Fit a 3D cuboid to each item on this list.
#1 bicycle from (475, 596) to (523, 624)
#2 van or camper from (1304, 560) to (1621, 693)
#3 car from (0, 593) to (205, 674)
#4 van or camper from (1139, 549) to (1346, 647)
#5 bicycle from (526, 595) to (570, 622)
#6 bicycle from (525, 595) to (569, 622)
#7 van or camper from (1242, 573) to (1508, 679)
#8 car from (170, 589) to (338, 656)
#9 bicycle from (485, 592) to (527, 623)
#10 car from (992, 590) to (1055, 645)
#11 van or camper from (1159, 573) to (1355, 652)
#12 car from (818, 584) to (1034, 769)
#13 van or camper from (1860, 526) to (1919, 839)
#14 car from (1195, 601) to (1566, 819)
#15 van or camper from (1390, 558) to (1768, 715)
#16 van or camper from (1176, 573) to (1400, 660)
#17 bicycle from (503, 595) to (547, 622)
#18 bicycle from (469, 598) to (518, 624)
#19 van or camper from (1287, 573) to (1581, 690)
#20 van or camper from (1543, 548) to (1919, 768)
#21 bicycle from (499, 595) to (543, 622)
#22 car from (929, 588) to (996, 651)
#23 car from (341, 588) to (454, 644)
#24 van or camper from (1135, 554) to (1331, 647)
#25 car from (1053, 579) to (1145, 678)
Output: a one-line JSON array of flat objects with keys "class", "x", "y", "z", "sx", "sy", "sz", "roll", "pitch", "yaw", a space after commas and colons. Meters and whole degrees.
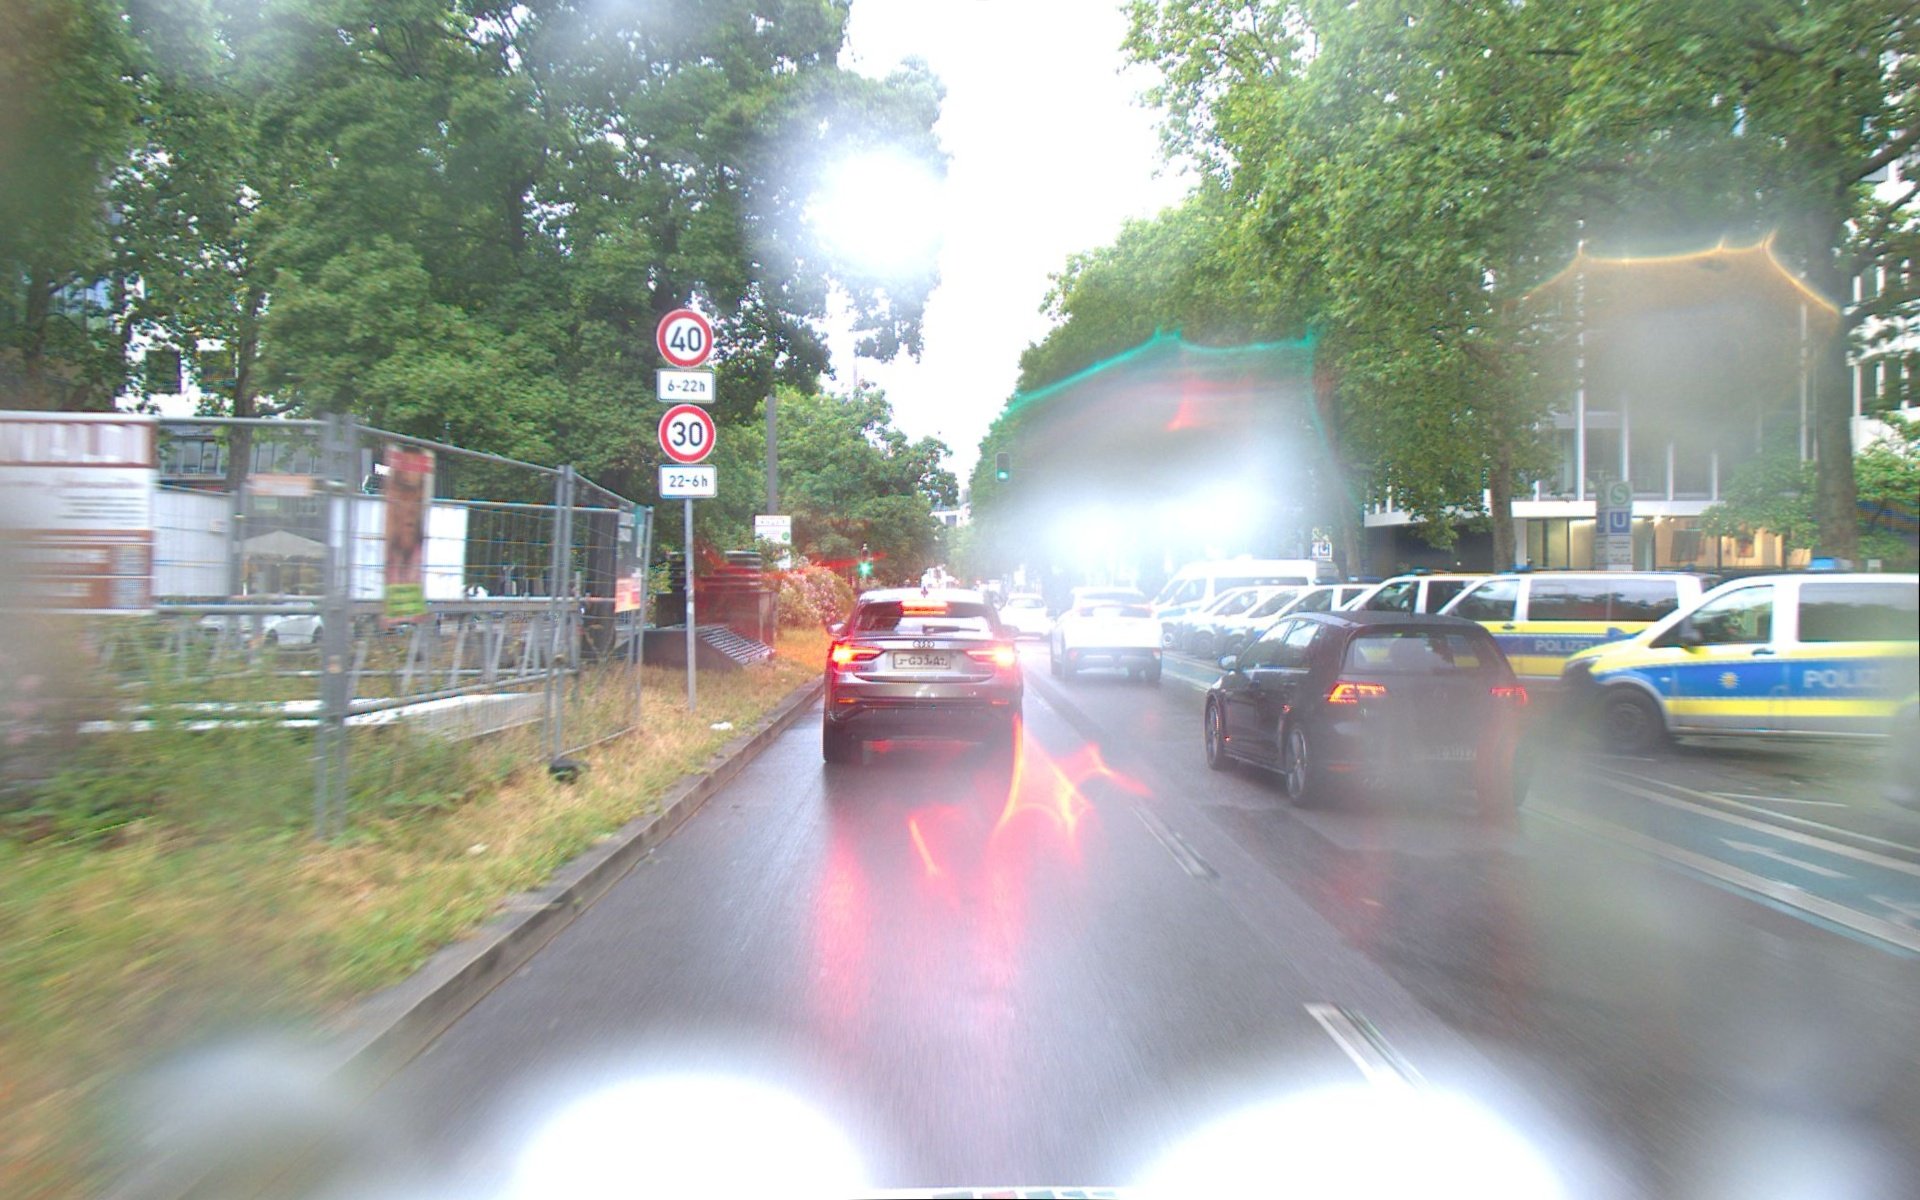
[{"class": "bicycle", "x": -18.712, "y": 0.403, "z": 67.217, "sx": 1.810, "sy": 1.117, "sz": 0.613, "roll": 0, "pitch": 0, "yaw": -9}, {"class": "van or camper", "x": 8.330, "y": 0.394, "z": 27.580, "sx": 4.698, "sy": 2.046, "sz": 1.993, "roll": 0, "pitch": 0, "yaw": 36}, {"class": "car", "x": -16.256, "y": 0.575, "z": 31.418, "sx": 1.788, "sy": 1.419, "sz": 4.483, "roll": 0, "pitch": 0, "yaw": -1}, {"class": "van or camper", "x": 8.212, "y": -0.062, "z": 48.351, "sx": 5.693, "sy": 2.727, "sz": 1.993, "roll": 0, "pitch": 0, "yaw": 35}, {"class": "bicycle", "x": -18.257, "y": 0.381, "z": 73.299, "sx": 1.809, "sy": 1.169, "sz": 0.565, "roll": -1, "pitch": 1, "yaw": -8}, {"class": "bicycle", "x": -18.148, "y": 0.383, "z": 72.657, "sx": 1.809, "sy": 1.156, "sz": 0.565, "roll": -1, "pitch": 1, "yaw": -8}, {"class": "van or camper", "x": 8.615, "y": 0.481, "z": 34.578, "sx": 5.007, "sy": 2.060, "sz": 2.097, "roll": 0, "pitch": 0, "yaw": 37}, {"class": "car", "x": -16.267, "y": 0.478, "z": 38.392, "sx": 1.953, "sy": 1.394, "sz": 4.539, "roll": 2, "pitch": 1, "yaw": -1}, {"class": "bicycle", "x": -18.646, "y": 0.294, "z": 67.974, "sx": 1.587, "sy": 1.263, "sz": 0.508, "roll": 0, "pitch": 0, "yaw": -9}, {"class": "car", "x": 2.119, "y": 0.556, "z": 56.175, "sx": 1.953, "sy": 1.780, "sz": 4.000, "roll": 0, "pitch": 1, "yaw": -1}, {"class": "van or camper", "x": 8.072, "y": 0.341, "z": 45.089, "sx": 4.915, "sy": 2.049, "sz": 1.993, "roll": 0, "pitch": -1, "yaw": 35}, {"class": "car", "x": -0.269, "y": 0.622, "z": 16.241, "sx": 1.825, "sy": 1.559, "sz": 4.527, "roll": 0, "pitch": 1, "yaw": 0}, {"class": "van or camper", "x": 8.468, "y": 0.571, "z": 10.241, "sx": 4.851, "sy": 2.027, "sz": 1.994, "roll": 1, "pitch": 0, "yaw": 38}, {"class": "car", "x": 3.197, "y": 0.760, "z": 13.421, "sx": 1.730, "sy": 1.437, "sz": 3.996, "roll": -1, "pitch": 1, "yaw": -4}, {"class": "van or camper", "x": 8.759, "y": 0.458, "z": 23.595, "sx": 4.757, "sy": 2.033, "sz": 1.861, "roll": 0, "pitch": 0, "yaw": 36}, {"class": "van or camper", "x": 8.155, "y": 0.383, "z": 41.321, "sx": 5.102, "sy": 2.027, "sz": 1.994, "roll": 1, "pitch": 0, "yaw": 34}, {"class": "bicycle", "x": -18.880, "y": 0.380, "z": 71.806, "sx": 1.810, "sy": 1.156, "sz": 0.565, "roll": 0, "pitch": 0, "yaw": -9}, {"class": "bicycle", "x": -18.690, "y": 0.436, "z": 66.324, "sx": 1.808, "sy": 0.996, "sz": 0.565, "roll": 0, "pitch": 0, "yaw": -4}, {"class": "van or camper", "x": 8.768, "y": 0.540, "z": 30.746, "sx": 4.917, "sy": 2.030, "sz": 1.995, "roll": 0, "pitch": 0, "yaw": 32}, {"class": "van or camper", "x": 8.793, "y": 0.537, "z": 16.915, "sx": 4.987, "sy": 2.054, "sz": 1.989, "roll": 2, "pitch": 0, "yaw": 36}, {"class": "bicycle", "x": -18.863, "y": 0.366, "z": 71.063, "sx": 1.787, "sy": 1.117, "sz": 0.565, "roll": 0, "pitch": 0, "yaw": -9}, {"class": "car", "x": 0.035, "y": 0.482, "z": 44.165, "sx": 1.686, "sy": 1.605, "sz": 3.961, "roll": 0, "pitch": 0, "yaw": -1}, {"class": "car", "x": -16.564, "y": 0.442, "z": 48.914, "sx": 1.954, "sy": 1.535, "sz": 4.516, "roll": -1, "pitch": 1, "yaw": -3}, {"class": "van or camper", "x": 8.414, "y": 0.001, "z": 51.269, "sx": 5.701, "sy": 2.724, "sz": 2.139, "roll": 0, "pitch": 0, "yaw": 37}, {"class": "car", "x": 2.510, "y": 0.481, "z": 30.324, "sx": 1.404, "sy": 1.714, "sz": 2.979, "roll": -1, "pitch": 0, "yaw": 0}]
